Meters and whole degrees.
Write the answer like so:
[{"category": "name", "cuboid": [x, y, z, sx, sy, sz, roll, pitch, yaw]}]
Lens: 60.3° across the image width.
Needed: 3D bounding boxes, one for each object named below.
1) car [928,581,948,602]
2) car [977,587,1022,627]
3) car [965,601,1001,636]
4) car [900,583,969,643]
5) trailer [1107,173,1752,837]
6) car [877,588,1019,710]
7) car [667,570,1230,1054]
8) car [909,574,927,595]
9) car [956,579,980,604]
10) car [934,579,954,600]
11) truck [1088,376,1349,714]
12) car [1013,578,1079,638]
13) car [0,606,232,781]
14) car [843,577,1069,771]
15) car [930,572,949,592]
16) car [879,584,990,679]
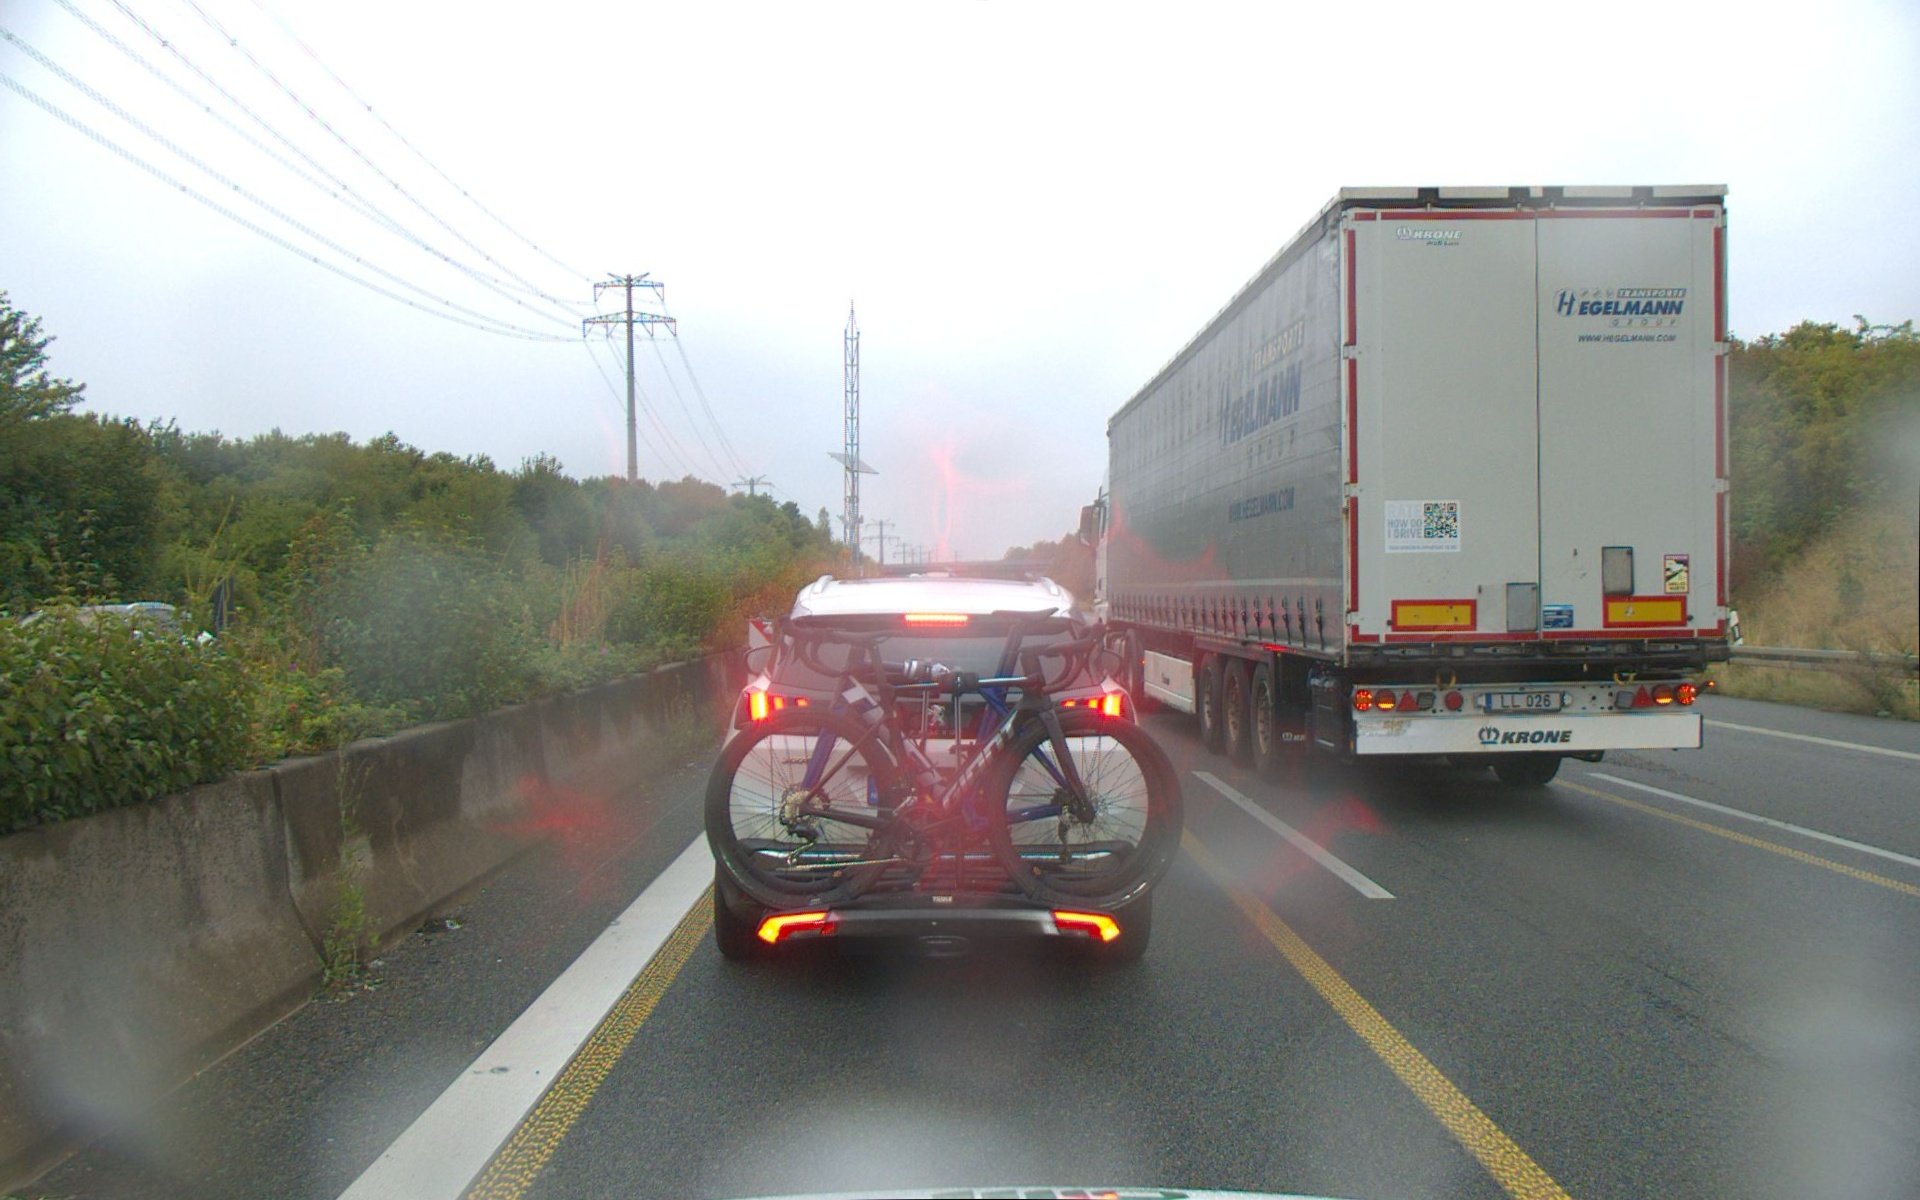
[{"category": "car", "cuboid": [-2.214, -0.846, 165.672, 1.892, 2.008, 4.000, 0, 1, -1]}, {"category": "car", "cuboid": [2.036, 0.341, 86.365, 2.105, 2.008, 3.999, 0, 1, -2]}, {"category": "car", "cuboid": [1.398, 1.133, 102.981, 2.104, 2.008, 4.000, 0, 1, -1]}, {"category": "car", "cuboid": [-0.691, 0.334, 45.669, 1.812, 1.557, 3.999, 0, 0, -1]}, {"category": "trailer", "cuboid": [3.555, -0.622, 17.174, 2.638, 4.148, 13.631, 0, 0, -1]}, {"category": "car", "cuboid": [-0.182, 0.620, 23.171, 1.812, 1.557, 3.999, 0, 0, -1]}, {"category": "car", "cuboid": [-0.067, 0.675, 7.729, 1.812, 1.557, 4.768, 0, 0, -1]}, {"category": "car", "cuboid": [-5.249, -1.937, 205.798, 2.212, 2.467, 4.000, 0, 1, -1]}, {"category": "car", "cuboid": [0.670, -0.718, 137.940, 1.892, 2.008, 4.000, 0, 1, -1]}, {"category": "car", "cuboid": [-1.552, -1.042, 158.700, 1.892, 1.944, 4.000, 0, 1, -1]}, {"category": "truck", "cuboid": [3.439, -0.690, 23.626, 2.606, 4.148, 6.538, 0, 0, -1]}, {"category": "car", "cuboid": [3.006, 0.240, 58.428, 2.067, 2.008, 4.000, 0, 1, -1]}, {"category": "car", "cuboid": [-11.156, 1.105, 21.136, 1.953, 1.964, 3.999, -1, 0, -1]}, {"category": "car", "cuboid": [-0.059, 0.586, 15.335, 1.812, 1.557, 3.999, 0, 0, -1]}, {"category": "car", "cuboid": [-2.156, -1.839, 171.409, 1.892, 2.008, 4.000, 0, 1, -1]}, {"category": "car", "cuboid": [-0.440, 0.512, 29.171, 1.812, 1.557, 3.999, 0, 0, -1]}]
